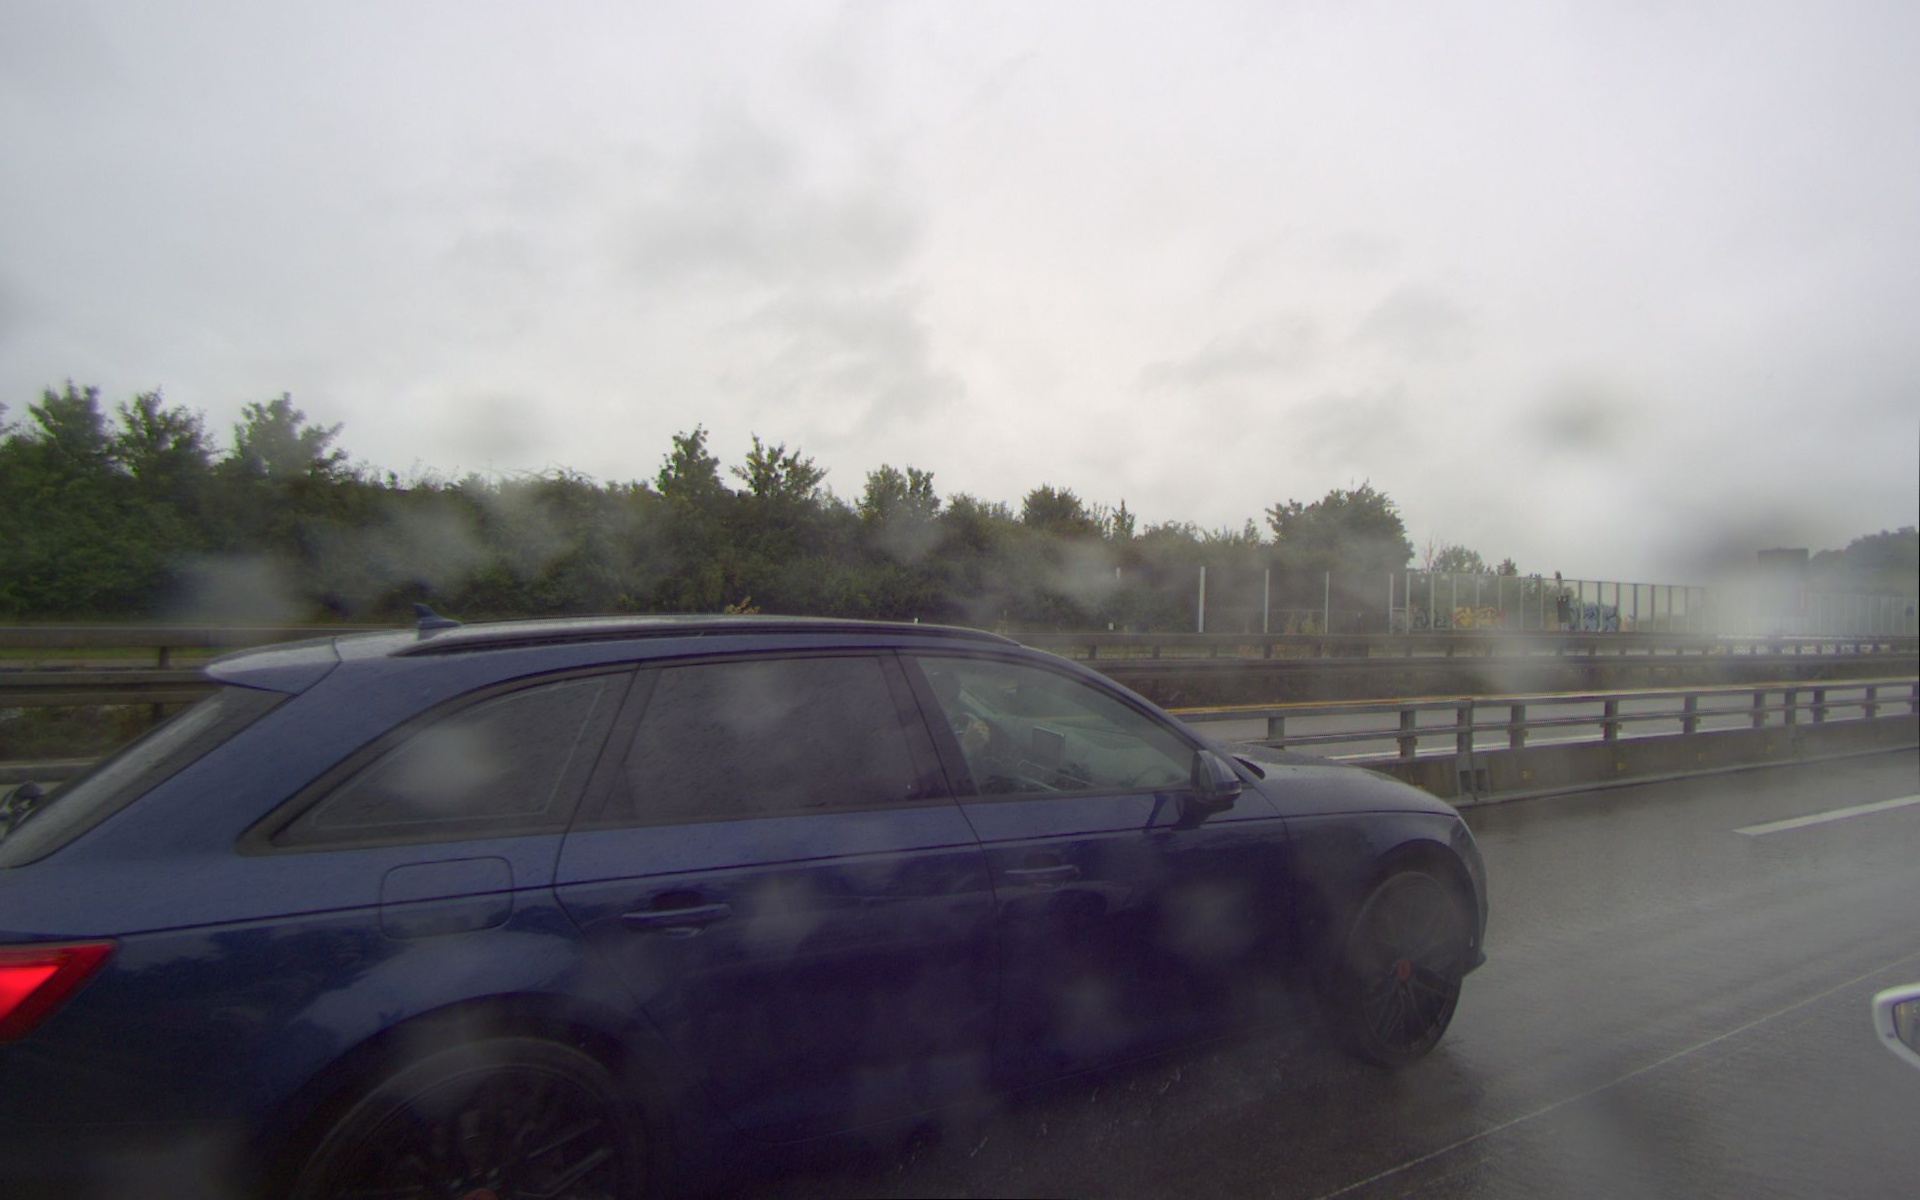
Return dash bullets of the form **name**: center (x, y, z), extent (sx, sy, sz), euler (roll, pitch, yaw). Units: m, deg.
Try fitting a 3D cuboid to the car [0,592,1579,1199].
- **car**: center (-0.283, 0.805, 3.296), extent (4.575, 1.517, 1.984), euler (2, 0, -30)
